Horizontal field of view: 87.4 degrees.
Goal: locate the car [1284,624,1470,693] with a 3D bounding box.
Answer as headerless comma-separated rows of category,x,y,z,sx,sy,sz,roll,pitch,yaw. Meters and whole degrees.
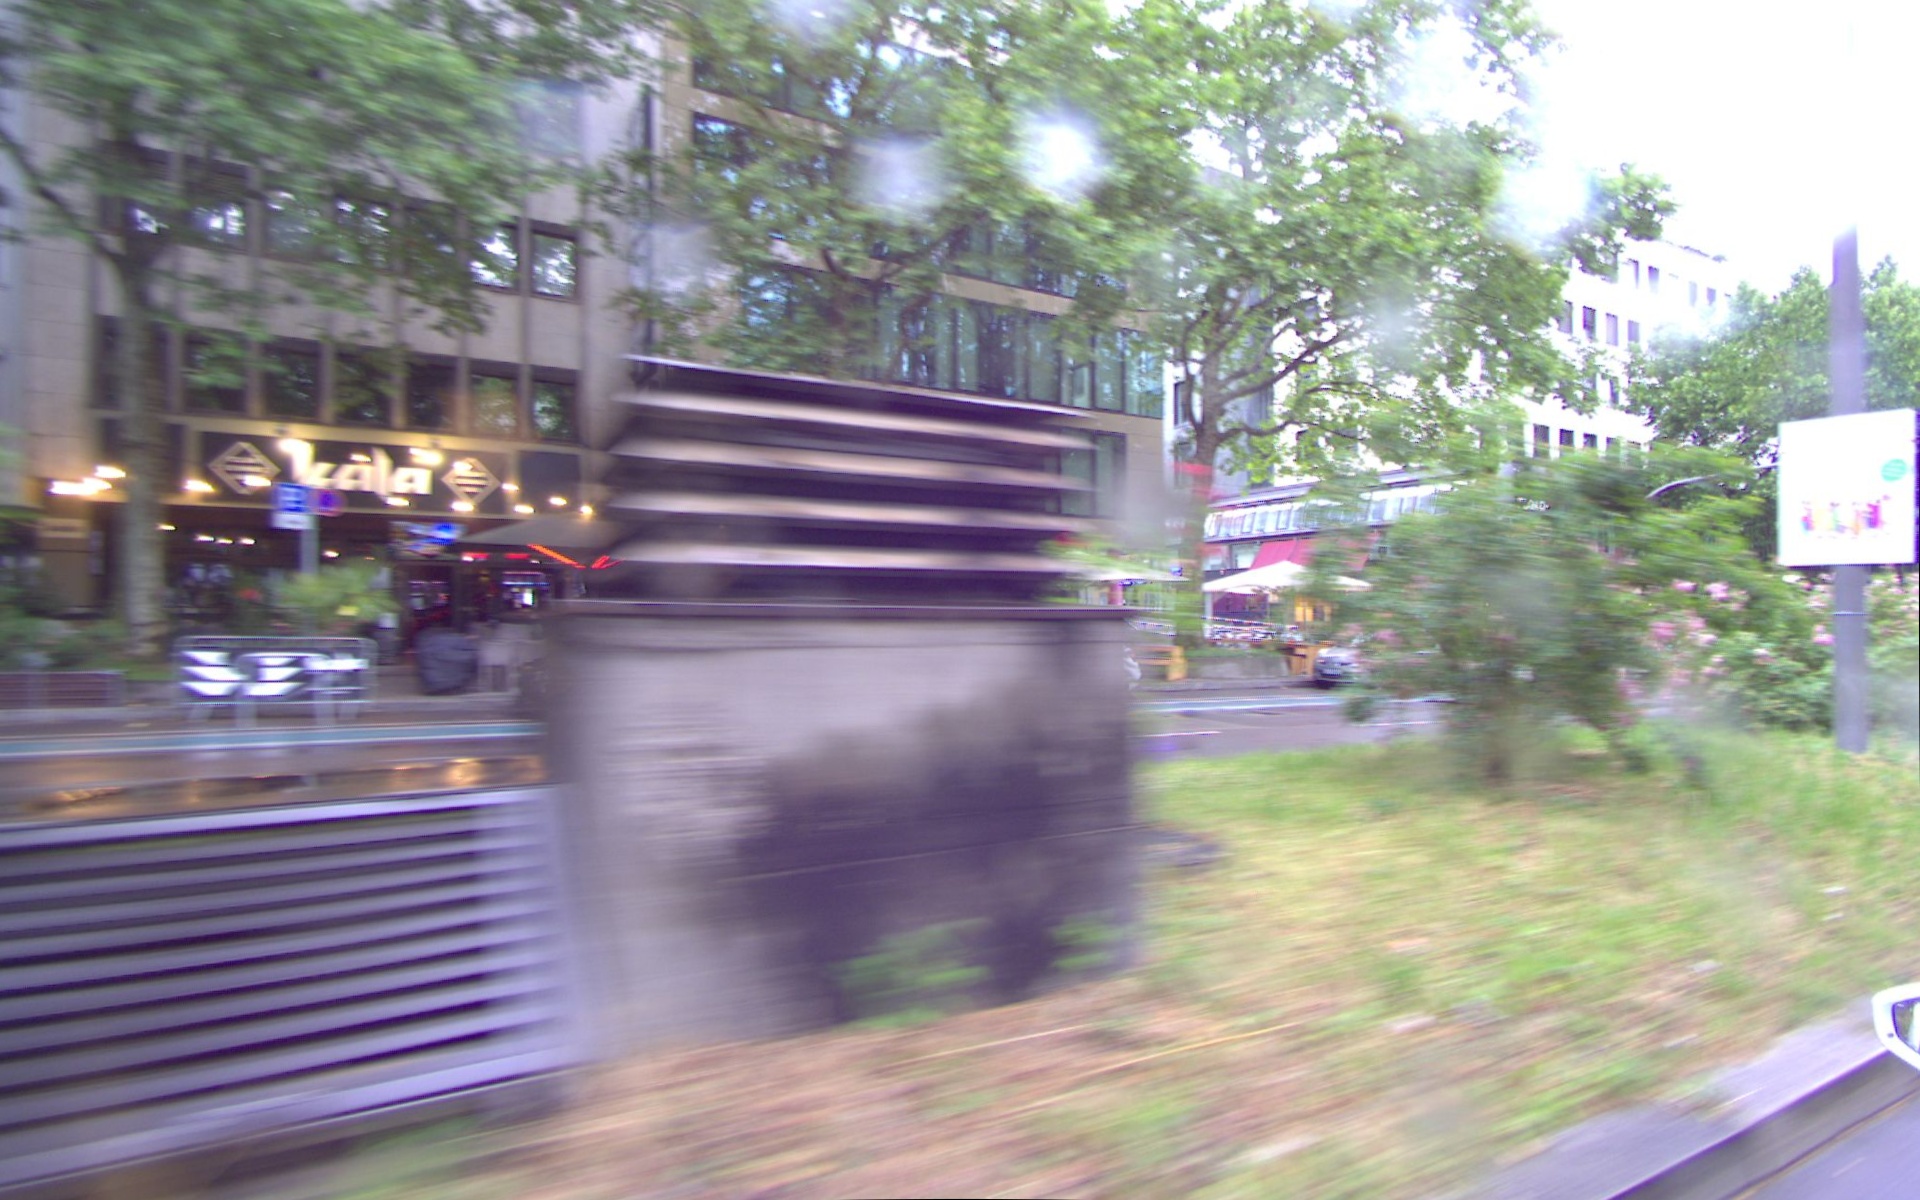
car,10.129,1.354,24.302,4.468,1.529,1.983,1,-2,-32

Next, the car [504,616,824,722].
car,-4.512,0.997,15.491,4.431,1.413,1.816,2,-1,-30

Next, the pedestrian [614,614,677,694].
pedestrian,-5.731,0.965,18.302,0.923,1.398,0.759,1,-1,-33

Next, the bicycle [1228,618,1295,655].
bicycle,10.844,1.305,36.251,0.683,1.263,2.369,1,-1,-37

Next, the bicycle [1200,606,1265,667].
bicycle,9.444,1.249,34.896,0.682,2.040,2.374,1,-1,-31

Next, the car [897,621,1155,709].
car,1.263,1.154,18.850,4.486,1.388,1.984,1,1,-30
